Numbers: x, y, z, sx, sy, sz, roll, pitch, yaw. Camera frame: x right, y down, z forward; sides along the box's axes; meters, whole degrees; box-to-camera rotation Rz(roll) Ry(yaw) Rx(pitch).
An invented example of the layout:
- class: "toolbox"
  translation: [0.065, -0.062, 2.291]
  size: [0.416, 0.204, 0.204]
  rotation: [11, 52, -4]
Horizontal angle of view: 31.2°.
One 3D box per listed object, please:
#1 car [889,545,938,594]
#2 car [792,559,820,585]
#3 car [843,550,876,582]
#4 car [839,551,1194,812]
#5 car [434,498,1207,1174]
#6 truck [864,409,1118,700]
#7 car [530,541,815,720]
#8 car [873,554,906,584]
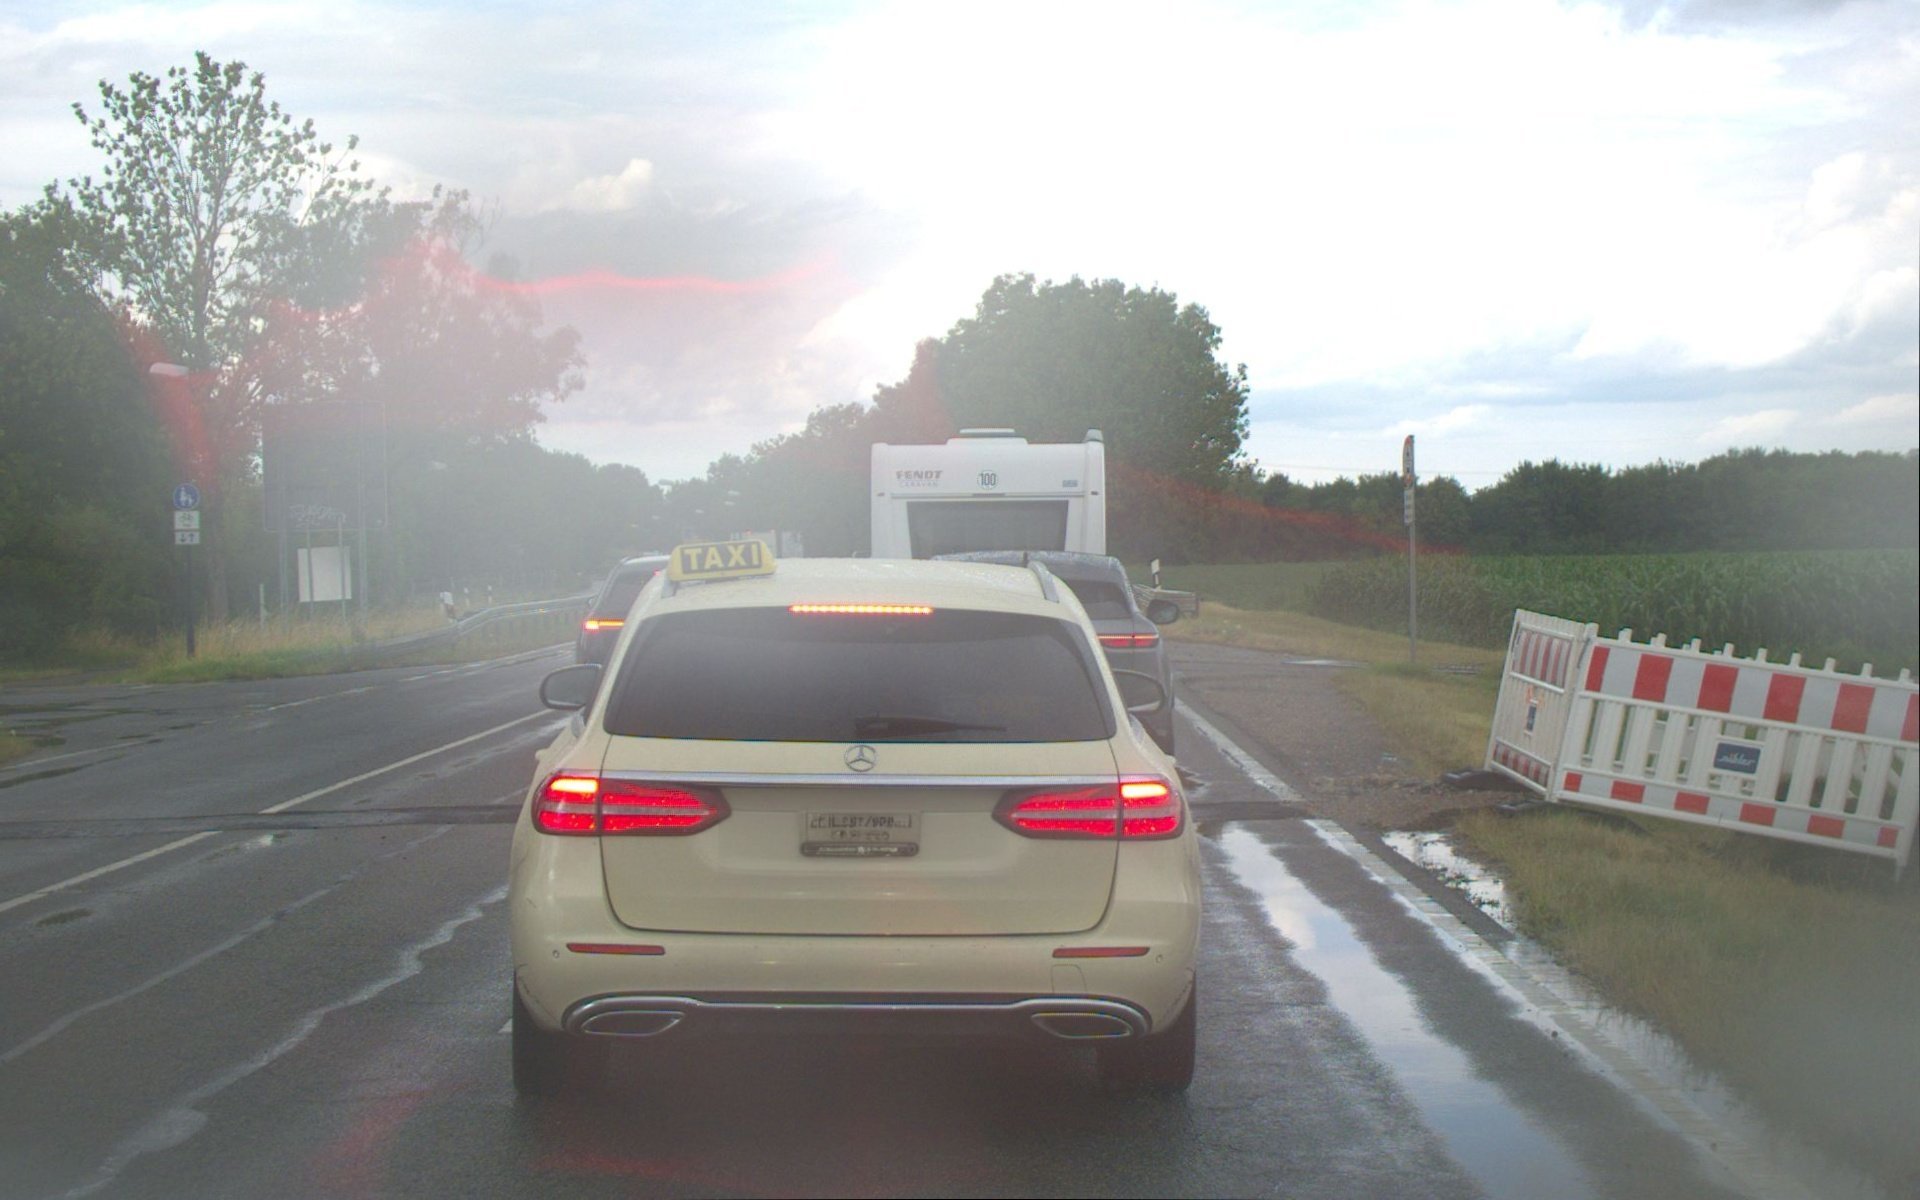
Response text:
- class: "car"
  translation: [-1.750, -1.169, 129.692]
  size: [1.791, 1.771, 3.721]
  rotation: [-1, 1, 0]
- class: "car"
  translation: [-11.359, -2.085, 254.153]
  size: [1.895, 1.833, 3.882]
  rotation: [-1, 1, 0]
- class: "car"
  translation: [-6.145, -2.051, 209.773]
  size: [1.895, 1.888, 3.844]
  rotation: [-1, 1, -3]
- class: "car"
  translation: [0.310, 0.441, 21.486]
  size: [1.993, 1.457, 4.000]
  rotation: [1, 1, 0]
- class: "car"
  translation: [-0.343, 0.539, 10.214]
  size: [1.842, 1.612, 4.000]
  rotation: [0, 1, 0]
- class: "truck"
  translation: [0.280, -0.494, 36.435]
  size: [2.363, 2.719, 7.314]
  rotation: [-1, 1, 0]
- class: "car"
  translation: [-2.621, 0.241, 32.478]
  size: [2.302, 1.542, 4.632]
  rotation: [1, 1, 0]
- class: "car"
  translation: [-3.716, -1.664, 181.715]
  size: [1.682, 1.545, 3.753]
  rotation: [1, 1, 0]
